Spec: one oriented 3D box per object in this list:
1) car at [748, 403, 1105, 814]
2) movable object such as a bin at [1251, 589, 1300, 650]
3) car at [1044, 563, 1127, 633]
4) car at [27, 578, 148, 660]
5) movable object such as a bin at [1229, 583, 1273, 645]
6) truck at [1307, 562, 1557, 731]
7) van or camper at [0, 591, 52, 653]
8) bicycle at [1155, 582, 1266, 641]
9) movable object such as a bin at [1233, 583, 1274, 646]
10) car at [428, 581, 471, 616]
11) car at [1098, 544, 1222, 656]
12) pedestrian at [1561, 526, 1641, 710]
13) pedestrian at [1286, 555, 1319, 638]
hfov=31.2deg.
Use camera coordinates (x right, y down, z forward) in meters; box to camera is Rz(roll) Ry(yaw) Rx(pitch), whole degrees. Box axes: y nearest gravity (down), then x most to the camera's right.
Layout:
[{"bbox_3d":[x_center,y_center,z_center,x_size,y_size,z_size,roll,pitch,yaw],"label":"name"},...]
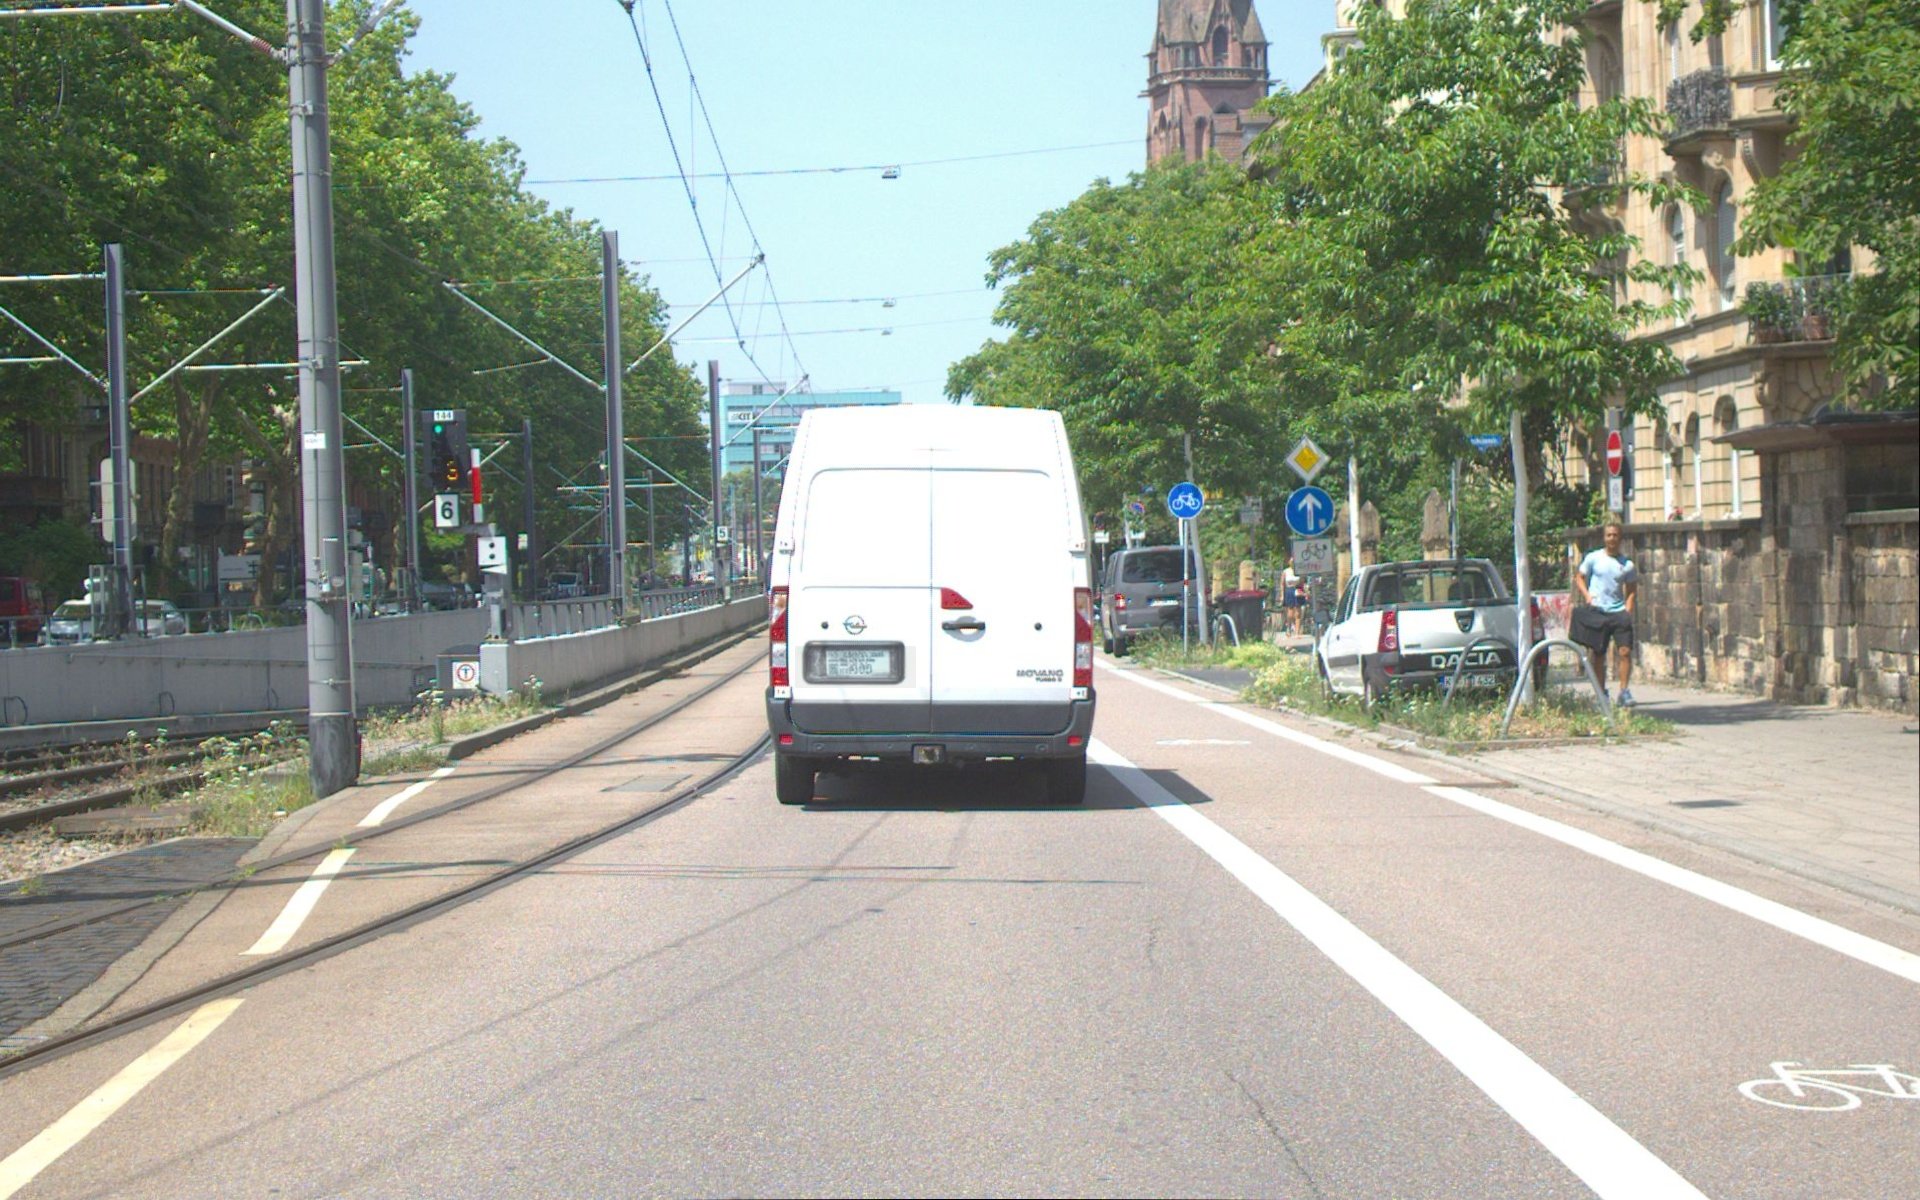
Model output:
[{"bbox_3d":[-0.293,0.023,23.356,2.117,2.450,5.055,-1,1,-2],"label":"car"},{"bbox_3d":[5.332,0.328,58.088,0.787,1.010,0.650,-1,0,5],"label":"movable object such as a bin"},{"bbox_3d":[2.883,-0.068,79.489,1.667,1.525,4.013,-2,1,-1],"label":"car"},{"bbox_3d":[-21.207,0.430,83.710,1.993,1.898,4.719,-1,1,-4],"label":"car"},{"bbox_3d":[5.040,0.238,59.505,0.746,1.058,0.496,-1,0,5],"label":"movable object such as a bin"},{"bbox_3d":[4.589,0.405,34.032,1.789,1.521,4.465,-1,1,-1],"label":"truck"},{"bbox_3d":[-30.446,0.705,105.551,4.544,1.830,1.932,-1,1,5],"label":"van or camper"},{"bbox_3d":[4.435,0.207,60.956,1.880,0.988,0.470,-2,0,-10],"label":"bicycle"},{"bbox_3d":[5.017,0.247,58.793,0.669,1.058,0.496,-1,0,5],"label":"movable object such as a bin"},{"bbox_3d":[-21.924,-0.063,147.631,1.373,1.419,3.088,-2,0,0],"label":"car"},{"bbox_3d":[3.719,-0.035,64.740,1.879,1.941,4.837,-3,1,-1],"label":"car"},{"bbox_3d":[6.184,0.167,33.199,0.621,1.749,0.678,-1,0,1],"label":"pedestrian"},{"bbox_3d":[6.650,-0.077,66.827,0.552,1.592,0.727,-1,0,1],"label":"pedestrian"}]
